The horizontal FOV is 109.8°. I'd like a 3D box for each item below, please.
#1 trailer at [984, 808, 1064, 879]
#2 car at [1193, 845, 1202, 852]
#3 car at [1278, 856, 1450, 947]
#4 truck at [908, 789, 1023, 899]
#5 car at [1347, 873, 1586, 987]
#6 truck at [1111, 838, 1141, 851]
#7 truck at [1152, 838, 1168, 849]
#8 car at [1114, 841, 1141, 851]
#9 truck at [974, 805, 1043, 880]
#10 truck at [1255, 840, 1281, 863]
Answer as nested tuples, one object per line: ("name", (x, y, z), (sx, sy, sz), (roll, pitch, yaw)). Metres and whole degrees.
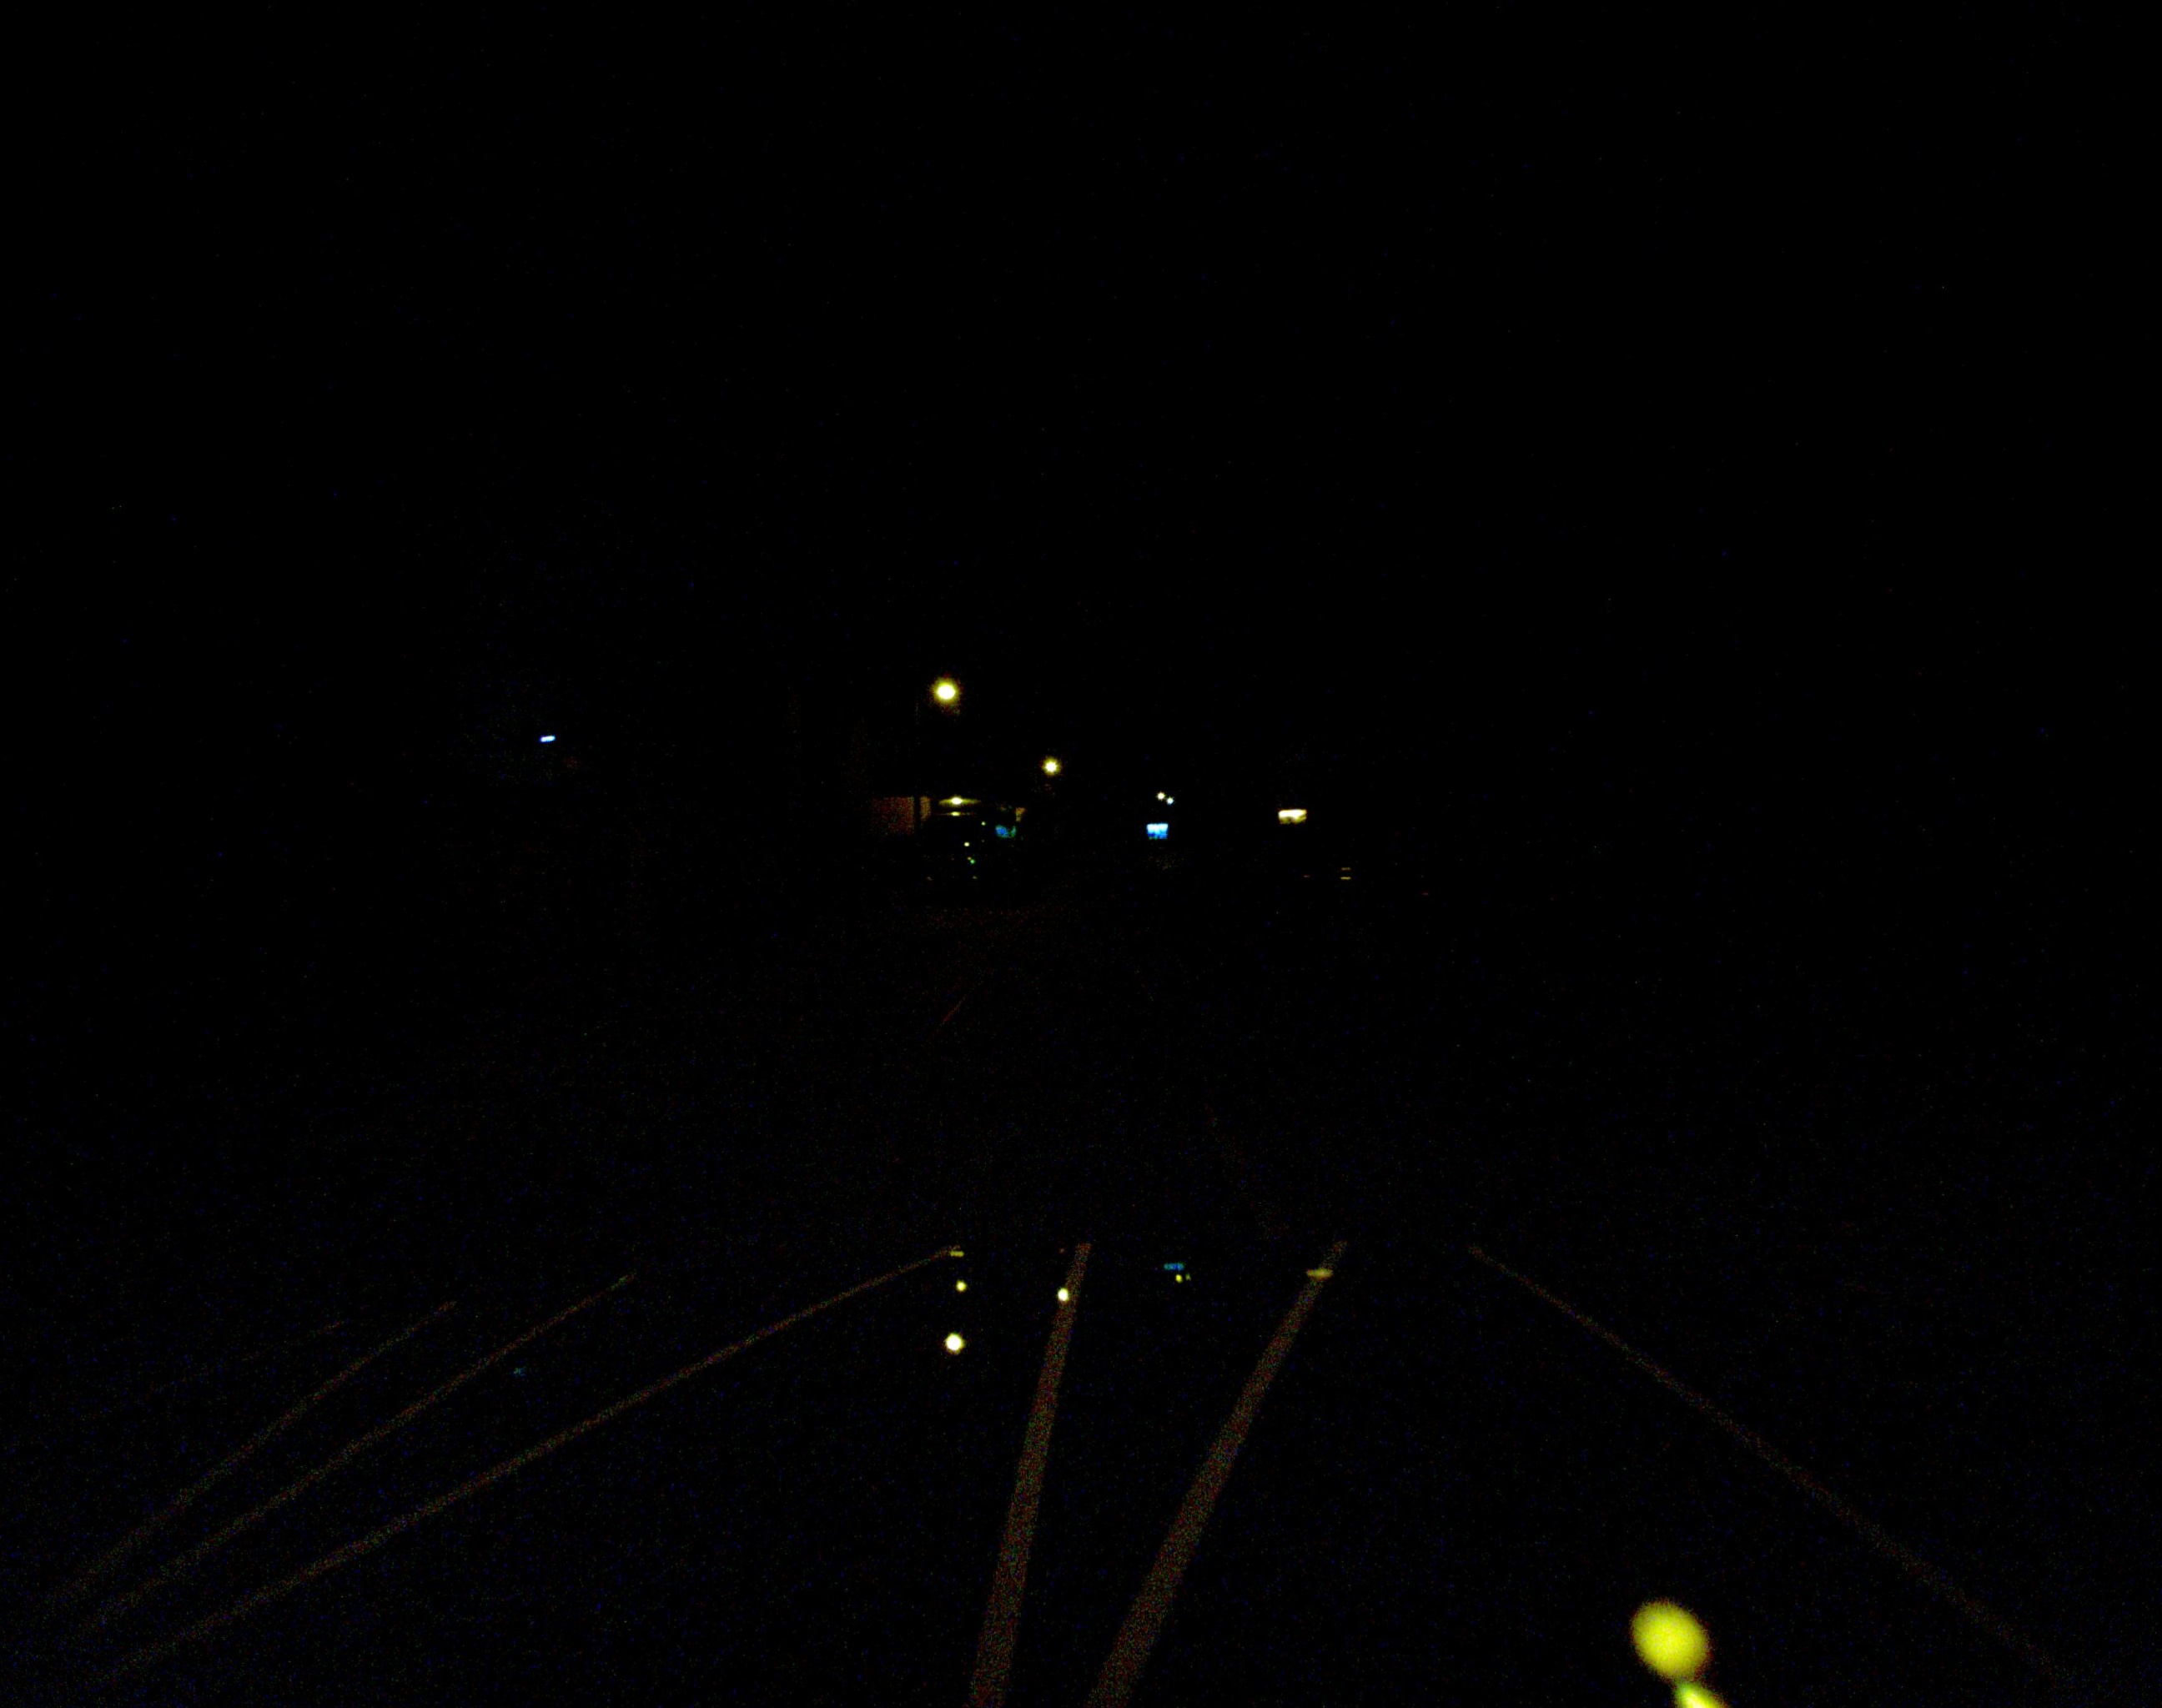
("trailer", (-3.359, -0.700, 49.734), (2.814, 3.960, 13.978), (0, 1, 6))
("car", (29.301, -1.420, 191.056), (1.937, 1.543, 4.003), (-2, 1, 12))
("car", (6.091, 0.931, 17.082), (1.999, 1.627, 4.772), (-2, 1, -1))
("truck", (-4.550, -0.425, 32.563), (2.836, 3.960, 10.343), (0, 1, 3))
("car", (5.755, 1.041, 11.951), (1.606, 1.346, 3.999), (-1, 0, -2))
("truck", (9.004, -1.913, 151.583), (5.537, 2.585, 2.475), (-1, 1, 16))
("truck", (17.416, -2.257, 167.182), (2.381, 2.271, 7.751), (-1, 1, 15))
("car", (9.343, -1.600, 154.071), (5.079, 1.826, 1.991), (-1, 2, 19))
("truck", (-3.995, -0.651, 43.179), (2.836, 3.960, 6.051), (0, 1, 5))
("truck", (16.493, -0.252, 67.265), (1.997, 1.889, 5.321), (-2, 1, 12))
